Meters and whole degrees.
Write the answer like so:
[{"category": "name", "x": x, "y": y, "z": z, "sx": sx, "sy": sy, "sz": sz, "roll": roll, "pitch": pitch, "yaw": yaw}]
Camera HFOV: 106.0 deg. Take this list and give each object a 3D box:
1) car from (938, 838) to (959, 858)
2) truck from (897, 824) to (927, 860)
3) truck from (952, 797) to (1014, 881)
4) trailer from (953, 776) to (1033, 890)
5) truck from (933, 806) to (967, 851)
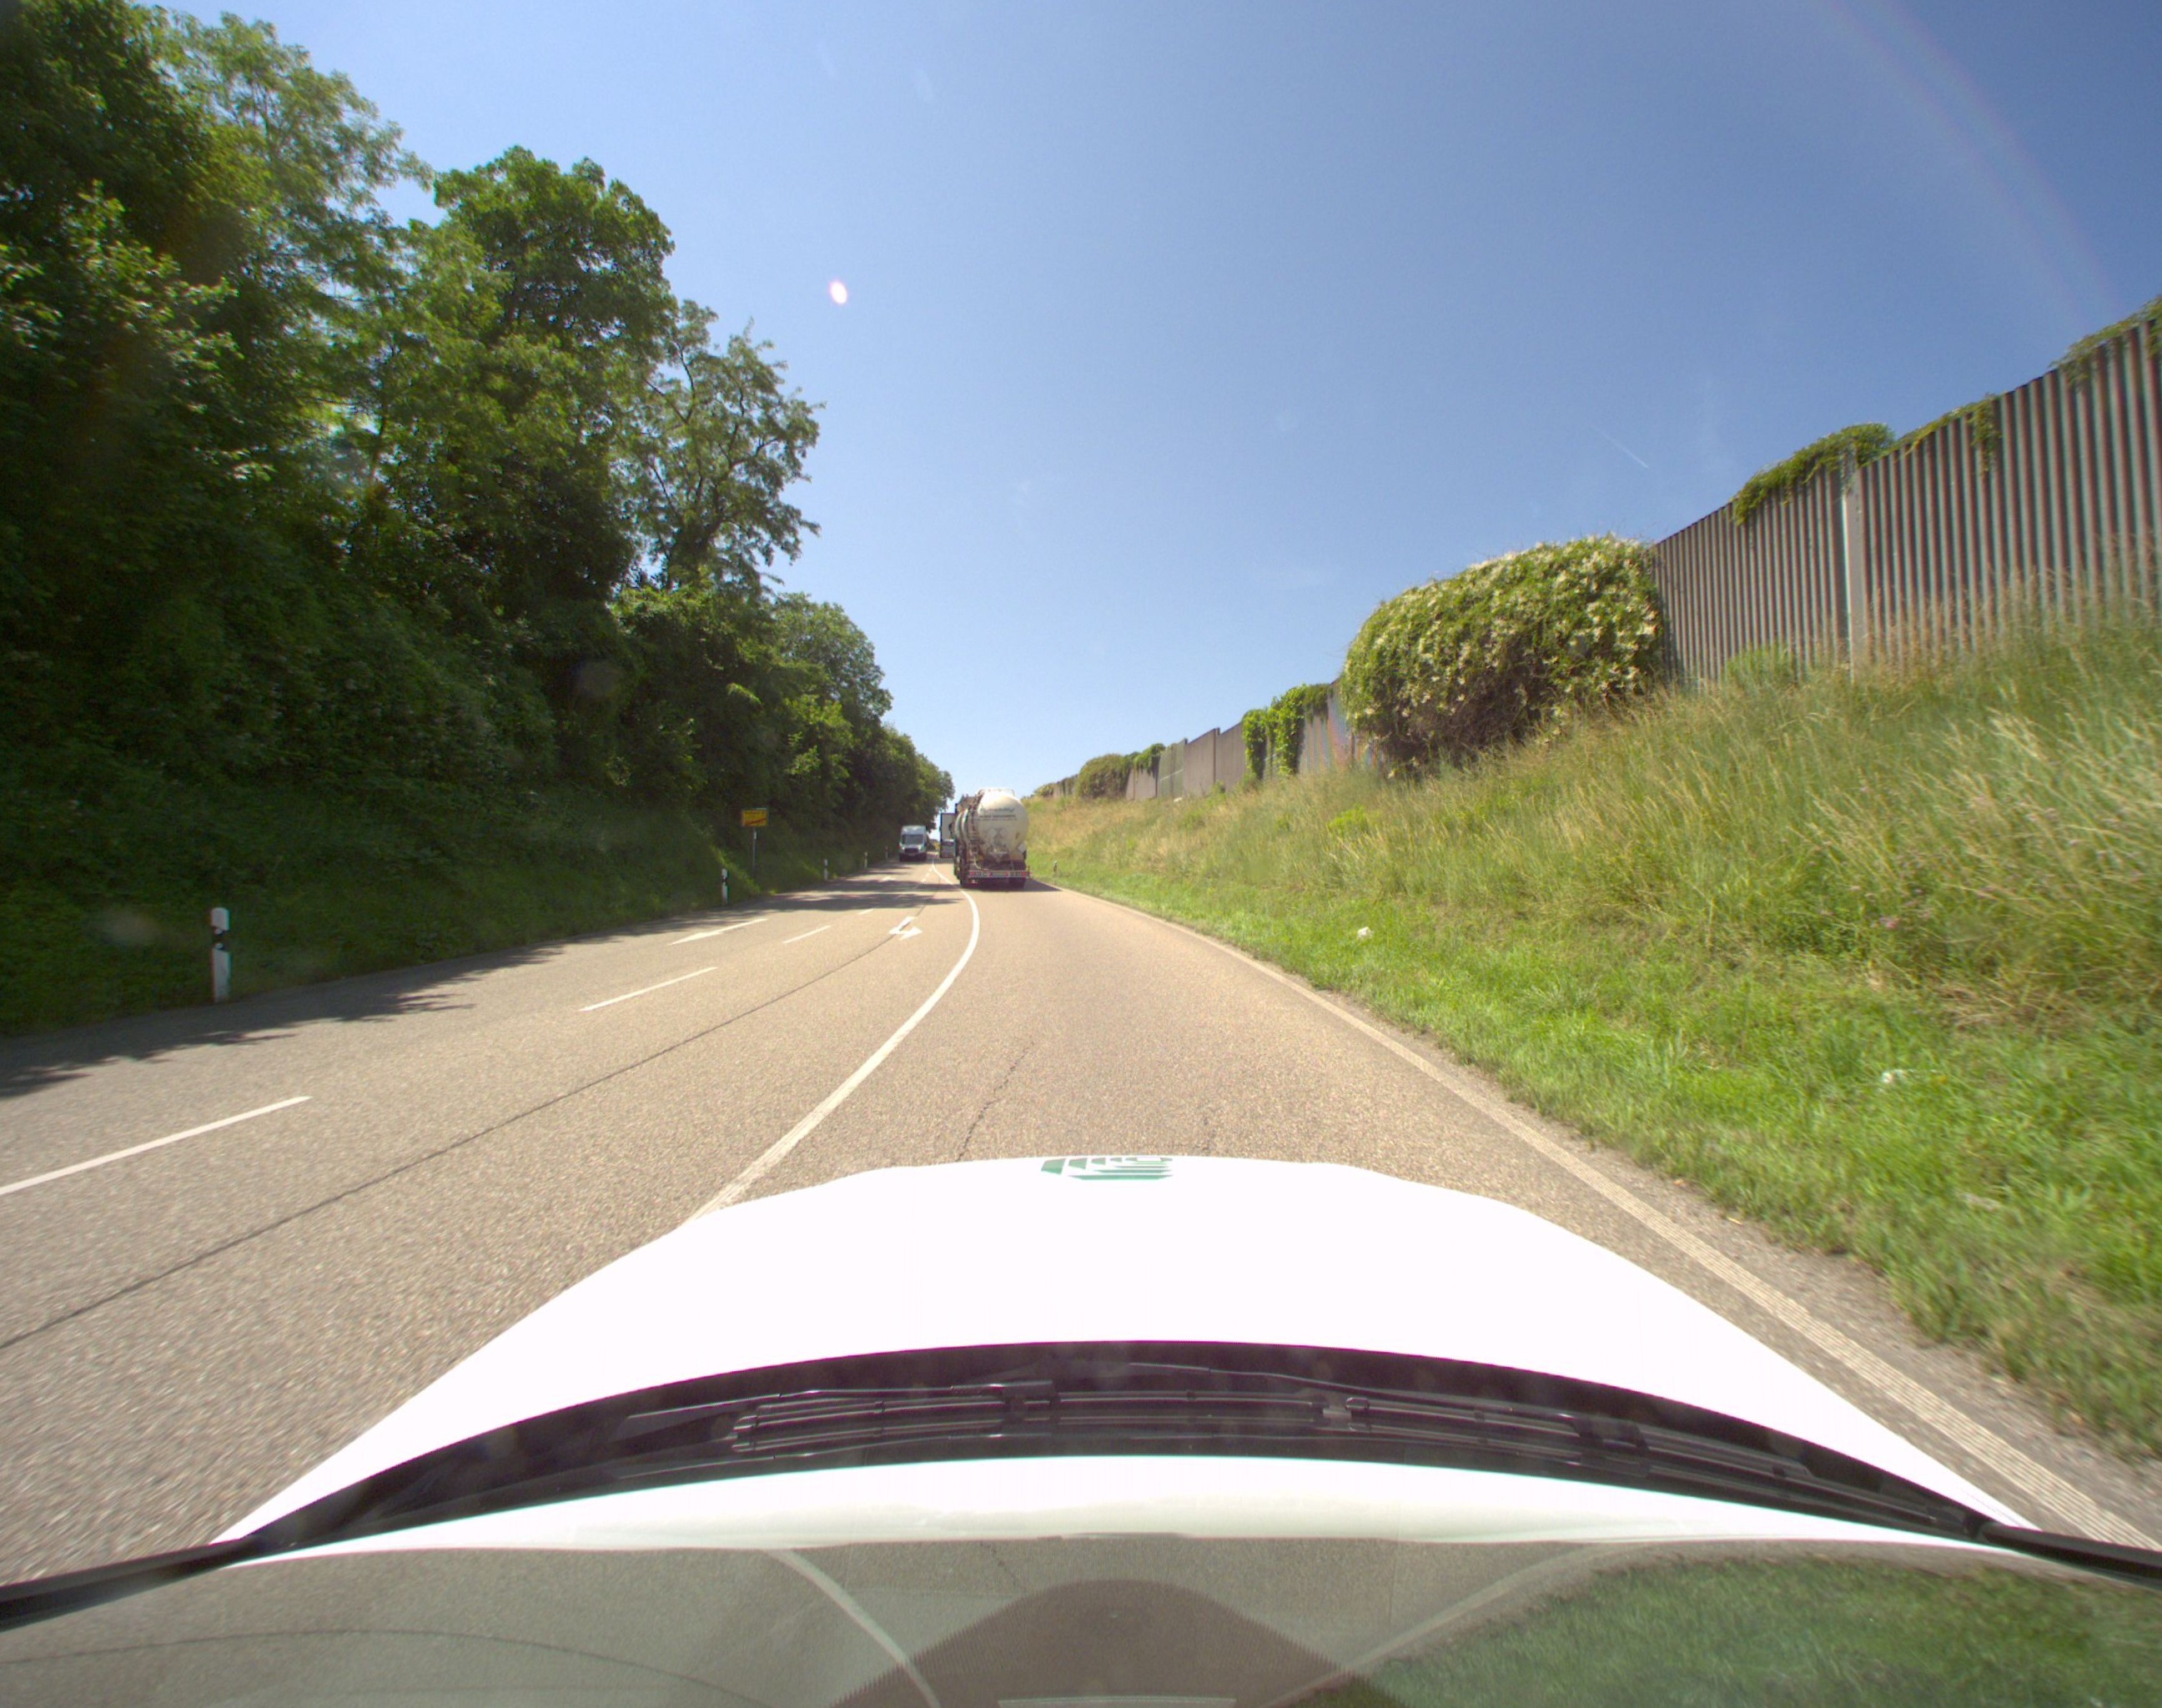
[{"category": "car", "x": -11.448, "y": -0.532, "z": 70.276, "sx": 1.648, "sy": 1.509, "sz": 3.625, "roll": 0, "pitch": 3, "yaw": -11}, {"category": "truck", "x": -13.459, "y": -1.016, "z": 64.973, "sx": 2.053, "sy": 2.686, "sz": 5.963, "roll": 1, "pitch": 2, "yaw": -10}, {"category": "truck", "x": -5.168, "y": -0.707, "z": 41.809, "sx": 2.728, "sy": 3.930, "sz": 7.236, "roll": 0, "pitch": 0, "yaw": -11}, {"category": "trailer", "x": -4.154, "y": -0.831, "z": 36.061, "sx": 2.662, "sy": 4.188, "sz": 11.862, "roll": 0, "pitch": 1, "yaw": -10}, {"category": "truck", "x": -14.202, "y": -2.715, "z": 88.045, "sx": 3.190, "sy": 4.309, "sz": 11.763, "roll": 3, "pitch": 1, "yaw": -9}]
